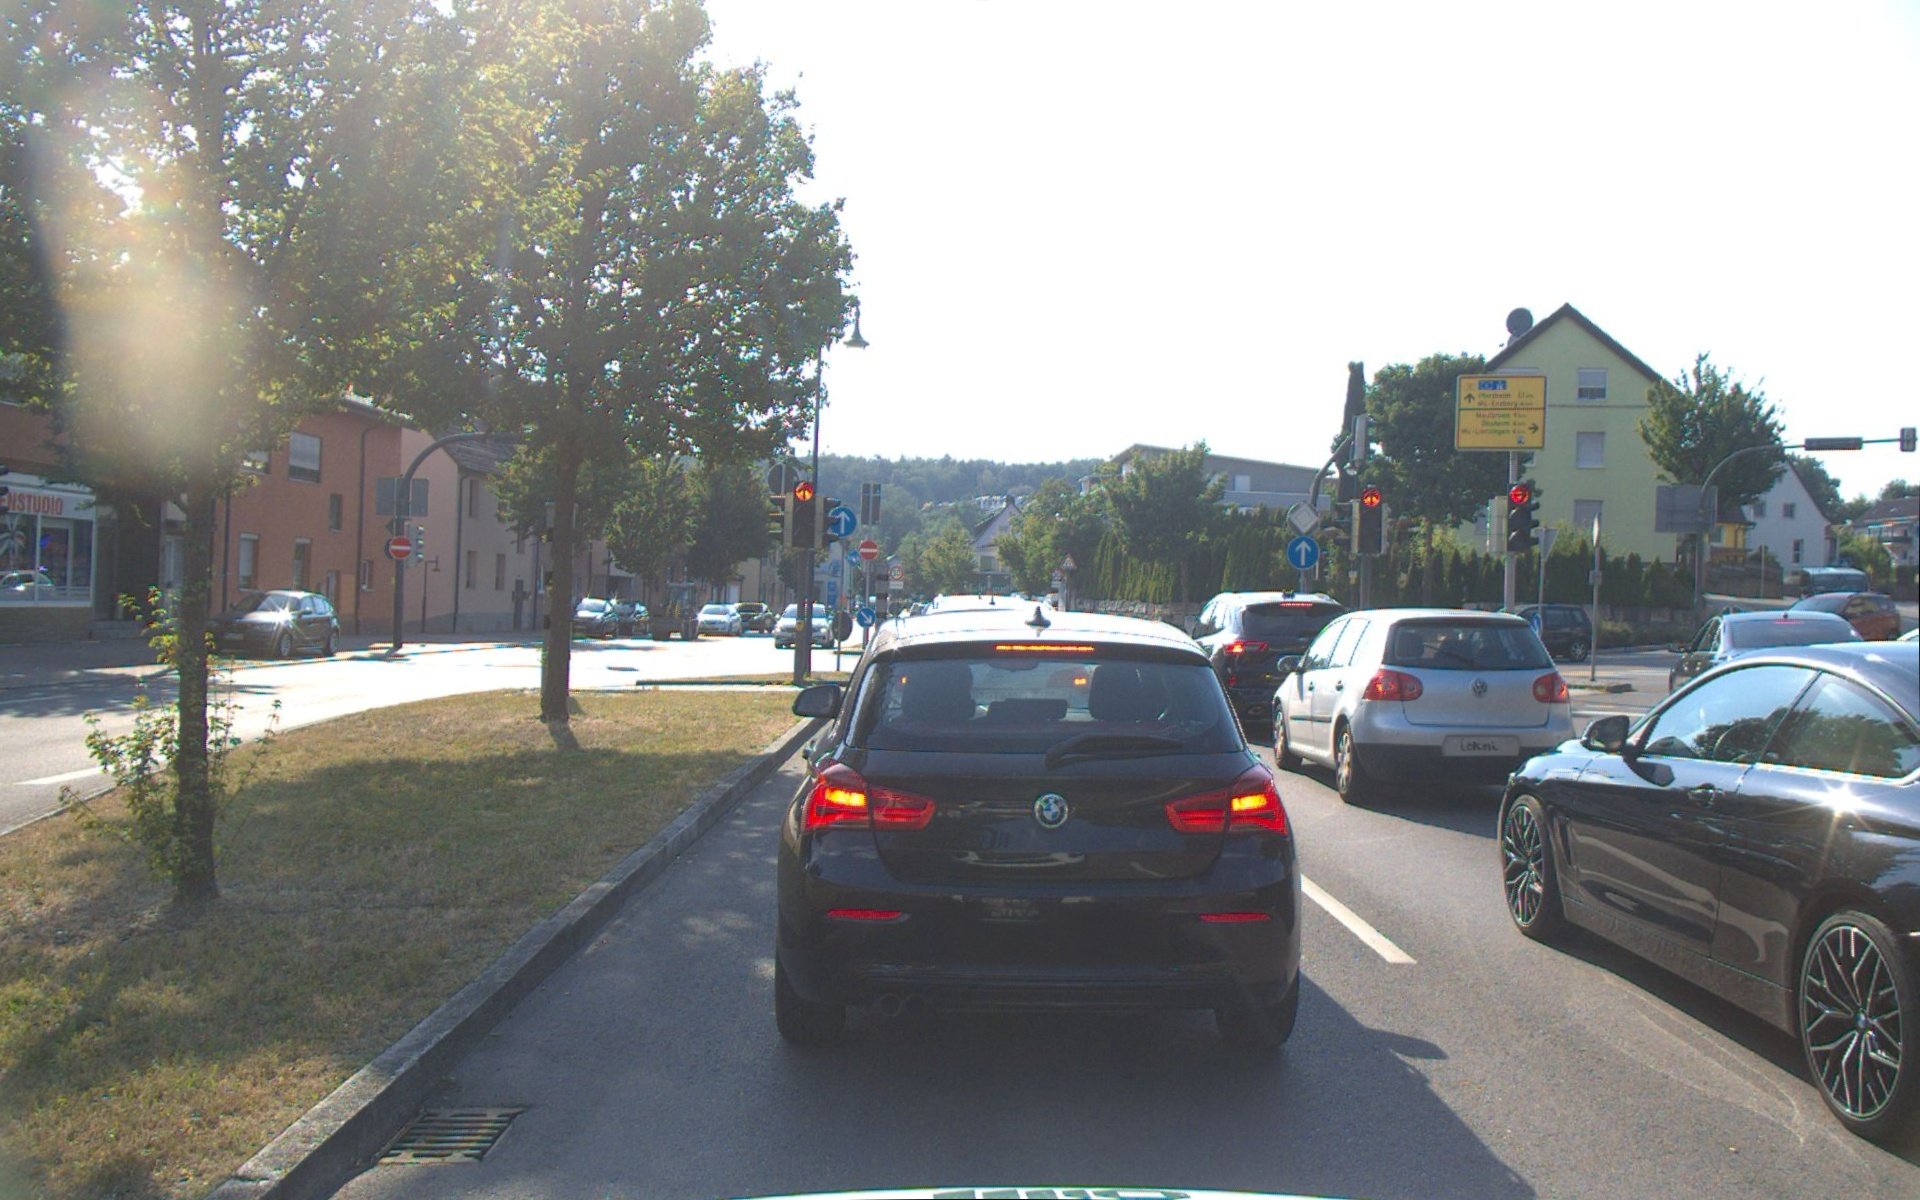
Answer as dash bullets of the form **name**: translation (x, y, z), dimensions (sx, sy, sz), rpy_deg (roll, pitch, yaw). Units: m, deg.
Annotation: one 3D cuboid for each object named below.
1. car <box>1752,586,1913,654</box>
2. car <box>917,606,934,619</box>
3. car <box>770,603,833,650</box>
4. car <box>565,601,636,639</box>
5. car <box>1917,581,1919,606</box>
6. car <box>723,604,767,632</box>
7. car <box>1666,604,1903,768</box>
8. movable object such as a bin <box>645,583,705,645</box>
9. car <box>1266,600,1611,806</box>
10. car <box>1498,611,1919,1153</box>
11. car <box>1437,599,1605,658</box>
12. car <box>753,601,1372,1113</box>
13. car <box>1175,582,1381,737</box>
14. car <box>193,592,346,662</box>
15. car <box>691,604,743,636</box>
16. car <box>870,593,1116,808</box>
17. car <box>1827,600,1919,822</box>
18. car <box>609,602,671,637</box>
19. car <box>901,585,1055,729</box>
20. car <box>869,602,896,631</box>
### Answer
- **car**: translation (22.619, 0.509, 42.850), dimensions (4.375, 1.670, 1.827), rpy_deg (1, 0, -33)
- **car**: translation (-4.132, 1.505, 198.871), dimensions (1.701, 1.323, 3.800), rpy_deg (5, 0, 2)
- **car**: translation (-5.351, 0.883, 56.216), dimensions (1.801, 1.508, 3.999), rpy_deg (1, 0, -1)
- **car**: translation (-14.500, 0.803, 66.920), dimensions (1.701, 1.323, 4.001), rpy_deg (5, 0, 3)
- **car**: translation (66.657, -0.432, 112.814), dimensions (1.932, 1.709, 4.199), rpy_deg (0, 0, 36)
- **car**: translation (-11.760, 0.956, 90.572), dimensions (1.701, 1.323, 3.800), rpy_deg (5, 0, 2)
- **car**: translation (9.040, 0.848, 18.472), dimensions (1.621, 1.569, 4.401), rpy_deg (-1, 0, 17)
- **movable object such as a bin**: translation (-11.805, 0.554, 68.671), dimensions (1.701, 2.485, 4.449), rpy_deg (0, 0, 0)
- **car**: translation (3.787, 0.736, 13.787), dimensions (1.725, 1.451, 3.902), rpy_deg (-1, 0, 0)
- **car**: translation (3.464, 0.781, 5.831), dimensions (1.725, 1.422, 4.280), rpy_deg (-1, 0, 0)
- **car**: translation (15.165, 0.759, 44.845), dimensions (3.907, 1.515, 1.847), rpy_deg (1, 0, -3)
- **car**: translation (0.289, 0.731, 6.851), dimensions (1.751, 1.422, 4.280), rpy_deg (-1, 0, 0)
- **car**: translation (3.740, 0.644, 20.069), dimensions (1.725, 1.685, 3.902), rpy_deg (-1, 0, 0)
- **car**: translation (-15.476, 0.571, 37.306), dimensions (1.702, 1.323, 3.999), rpy_deg (5, 0, -1)
- **car**: translation (-11.561, 0.954, 78.945), dimensions (1.701, 1.323, 3.800), rpy_deg (5, 0, 2)
- **car**: translation (0.231, 0.711, 13.996), dimensions (1.751, 1.520, 4.280), rpy_deg (-1, 0, 0)
- **car**: translation (7.615, 0.794, 11.639), dimensions (1.583, 1.569, 3.320), rpy_deg (-1, 0, 6)
- **car**: translation (-14.111, 0.836, 73.090), dimensions (1.701, 1.323, 4.001), rpy_deg (5, 0, 2)
- **car**: translation (0.202, 0.644, 21.036), dimensions (1.751, 1.622, 4.280), rpy_deg (-1, 0, 0)
- **car**: translation (-6.632, 1.405, 141.584), dimensions (2.042, 2.435, 5.528), rpy_deg (1, 0, 0)
